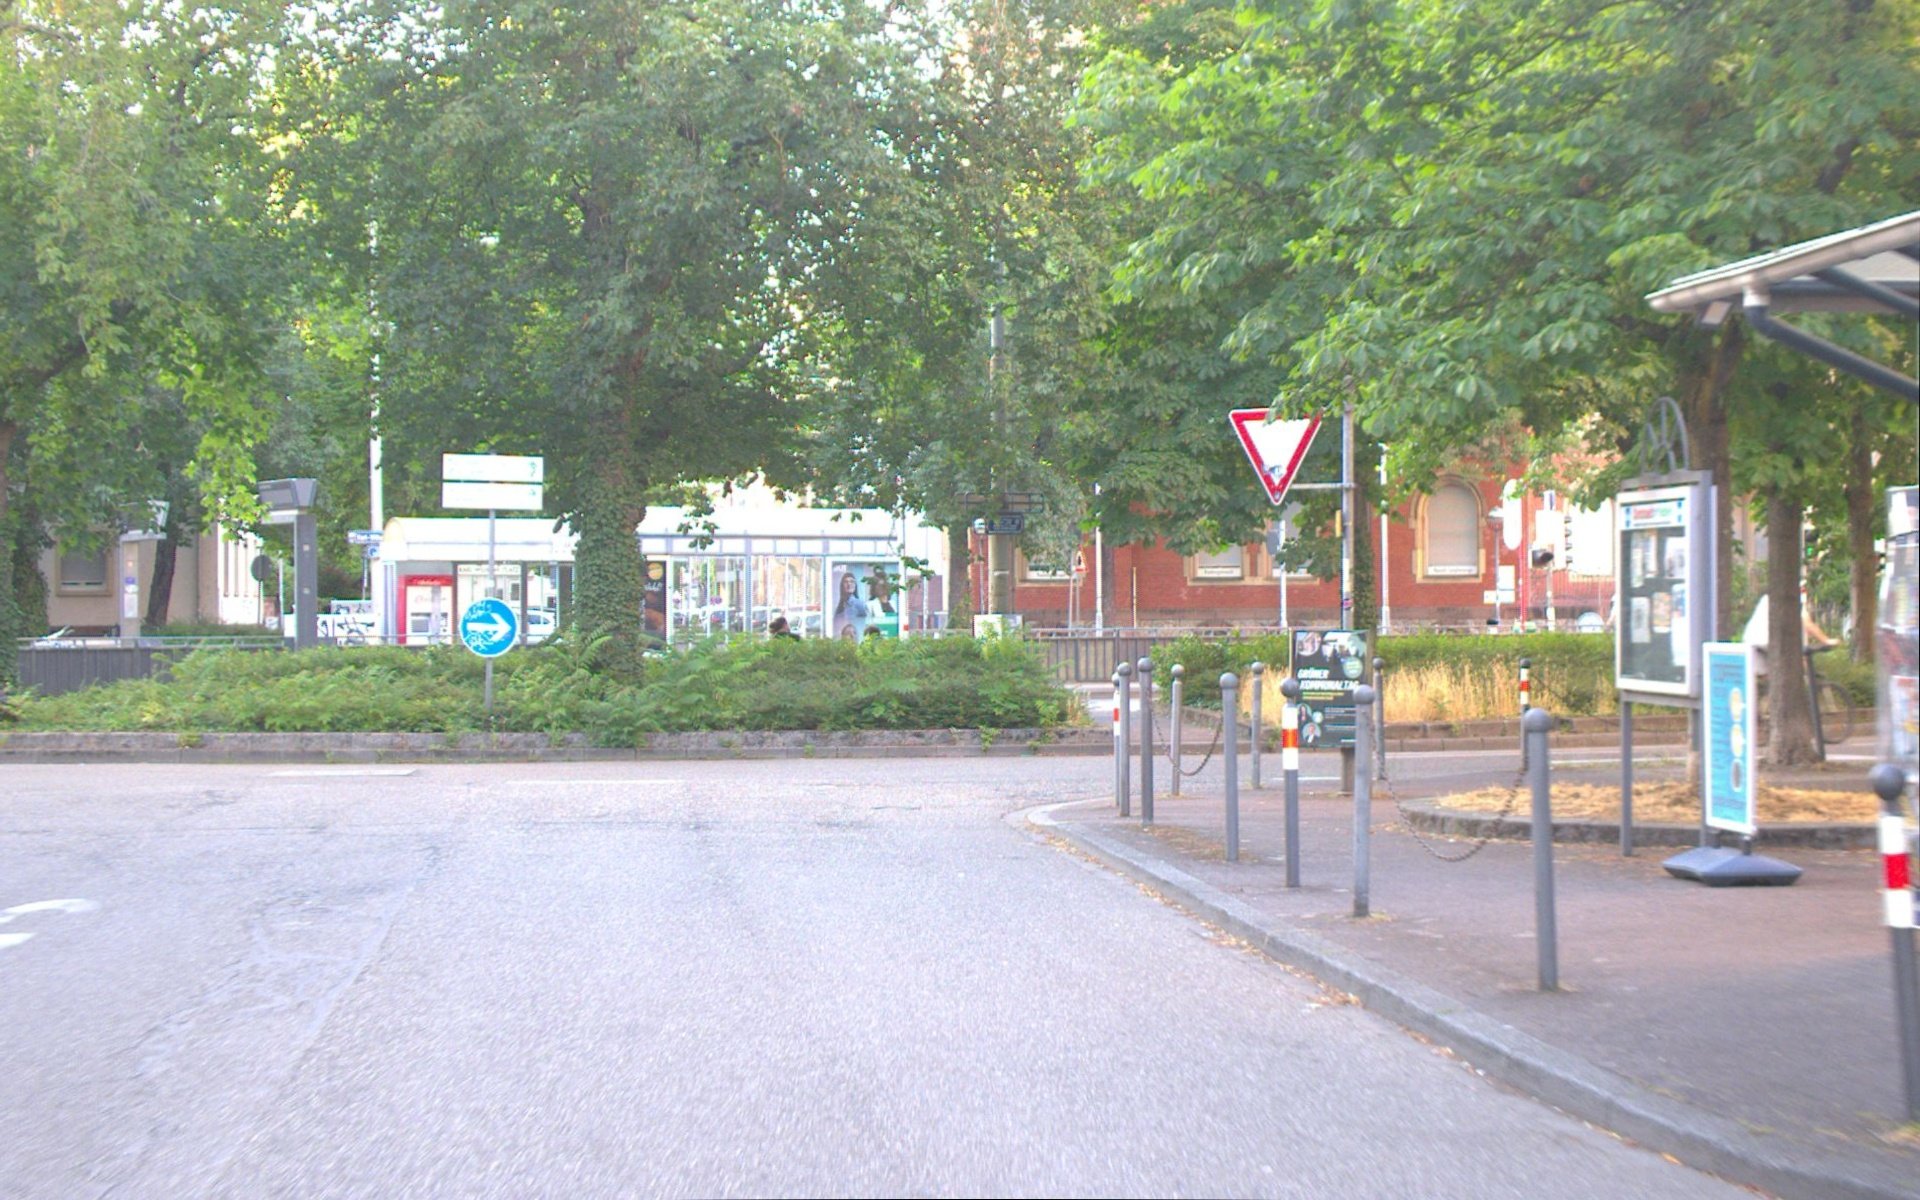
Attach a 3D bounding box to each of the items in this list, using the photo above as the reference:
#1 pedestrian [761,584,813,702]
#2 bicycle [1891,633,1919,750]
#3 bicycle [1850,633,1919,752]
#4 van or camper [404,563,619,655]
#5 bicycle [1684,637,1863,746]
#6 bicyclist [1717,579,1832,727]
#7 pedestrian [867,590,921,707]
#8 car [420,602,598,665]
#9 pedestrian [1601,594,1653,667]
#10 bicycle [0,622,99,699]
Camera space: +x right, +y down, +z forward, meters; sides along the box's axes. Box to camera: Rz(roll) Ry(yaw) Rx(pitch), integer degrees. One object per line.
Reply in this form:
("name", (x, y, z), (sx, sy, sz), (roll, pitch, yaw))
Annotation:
("pedestrian", (-2.122, 0.520, 42.102), (0.616, 1.426, 0.655), (0, 0, -4))
("bicycle", (9.006, 0.815, 30.202), (0.431, 1.036, 1.899), (0, 0, -27))
("bicycle", (8.552, 0.815, 30.279), (0.431, 1.036, 1.608), (0, 0, -27))
("van or camper", (-15.839, 0.331, 121.290), (7.363, 3.073, 2.674), (1, 0, -10))
("bicycle", (8.392, 0.933, 35.446), (1.828, 1.066, 0.709), (-1, 0, -32))
("bicyclist", (8.400, 0.536, 35.449), (0.916, 1.497, 0.709), (-1, 0, -32))
("pedestrian", (-0.817, 0.592, 42.515), (0.616, 1.426, 0.655), (0, 0, -4))
("car", (-12.963, 0.955, 98.713), (4.949, 1.698, 2.000), (1, 0, -10))
("pedestrian", (14.078, 0.642, 72.607), (0.866, 1.521, 0.714), (0, 0, 33))
("bicycle", (-12.980, 0.837, 47.850), (1.849, 1.048, 0.546), (0, 0, -27))
